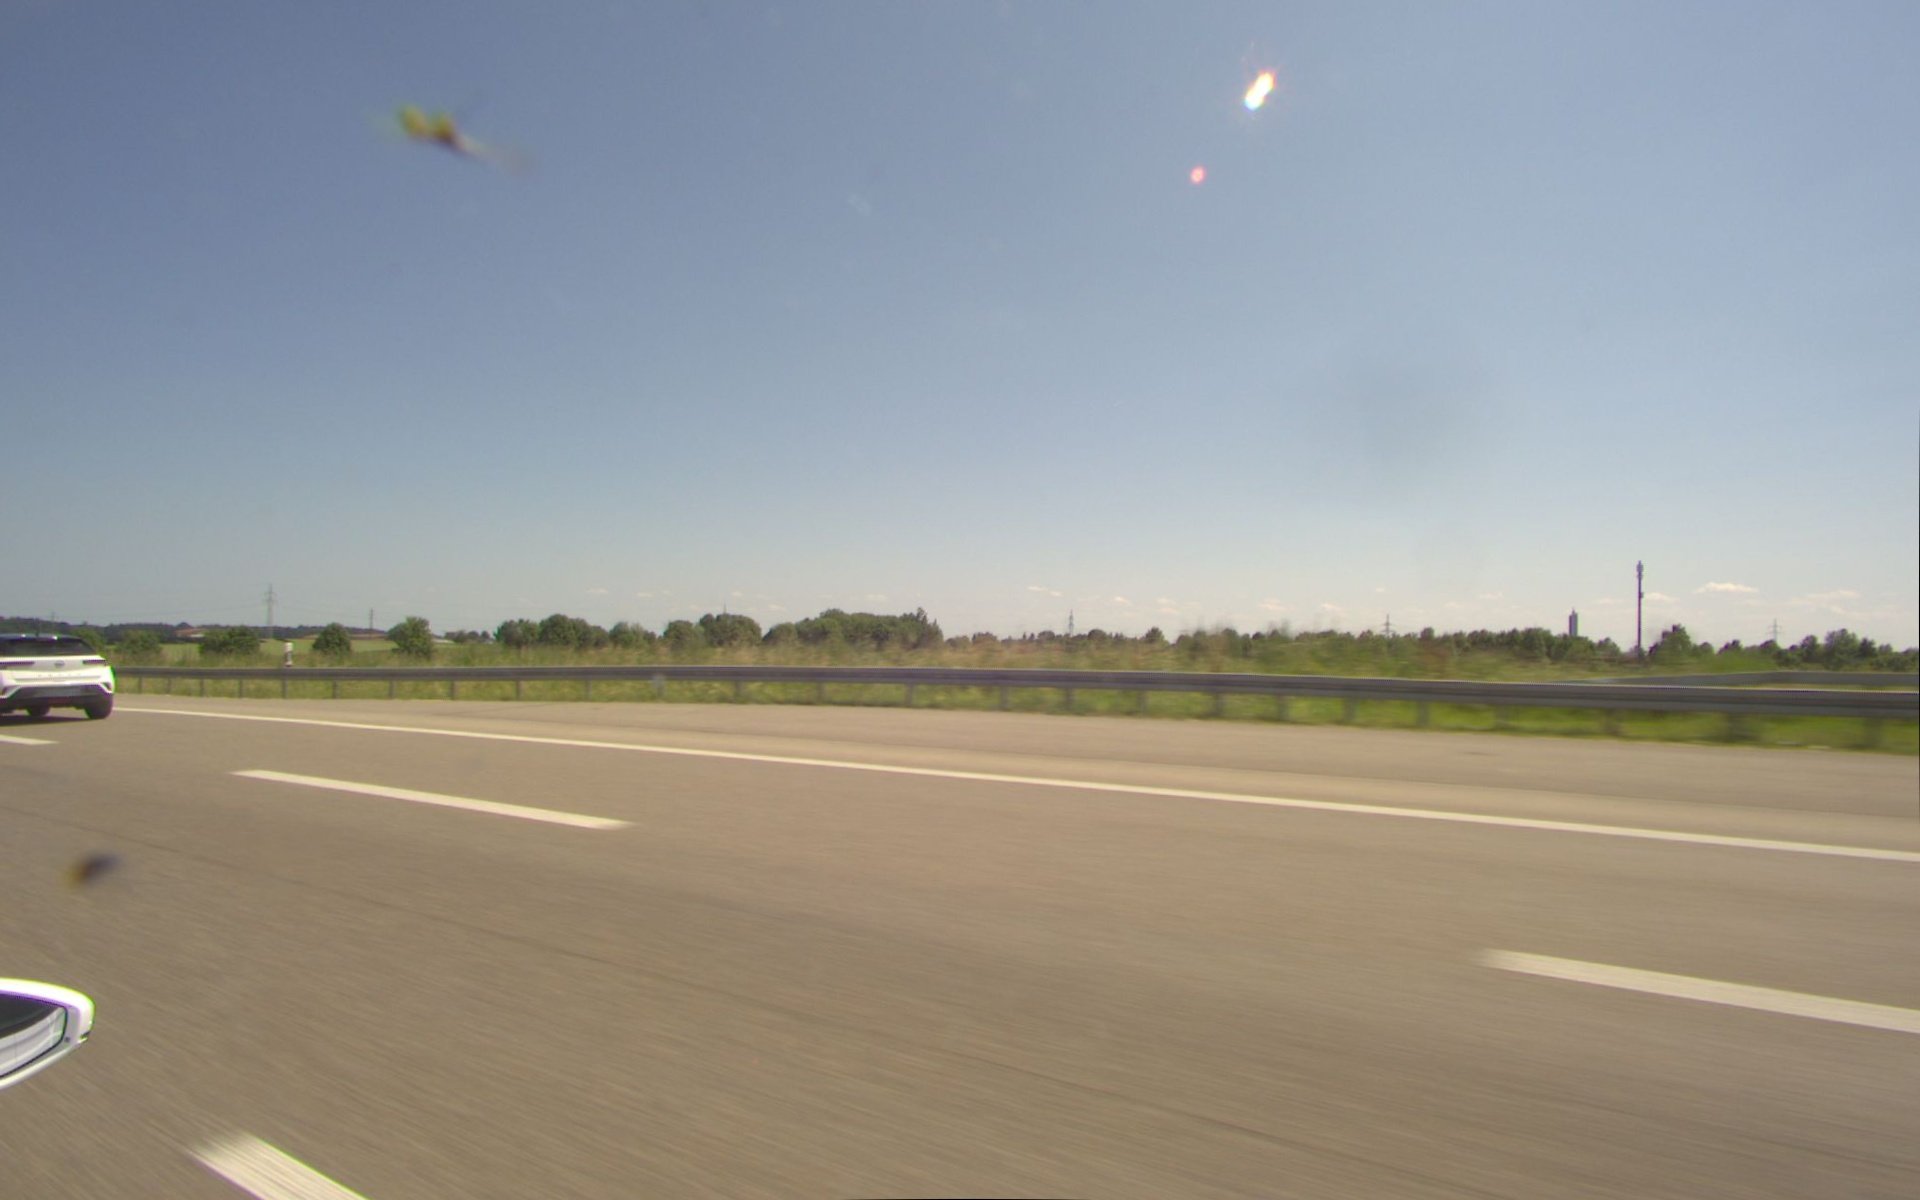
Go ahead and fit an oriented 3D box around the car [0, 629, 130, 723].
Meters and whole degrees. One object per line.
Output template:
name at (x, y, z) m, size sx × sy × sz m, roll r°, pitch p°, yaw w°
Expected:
car at (-17.271, 1.308, 18.320) m, size 4.198 × 1.549 × 1.889 m, roll -1°, pitch -1°, yaw 30°
